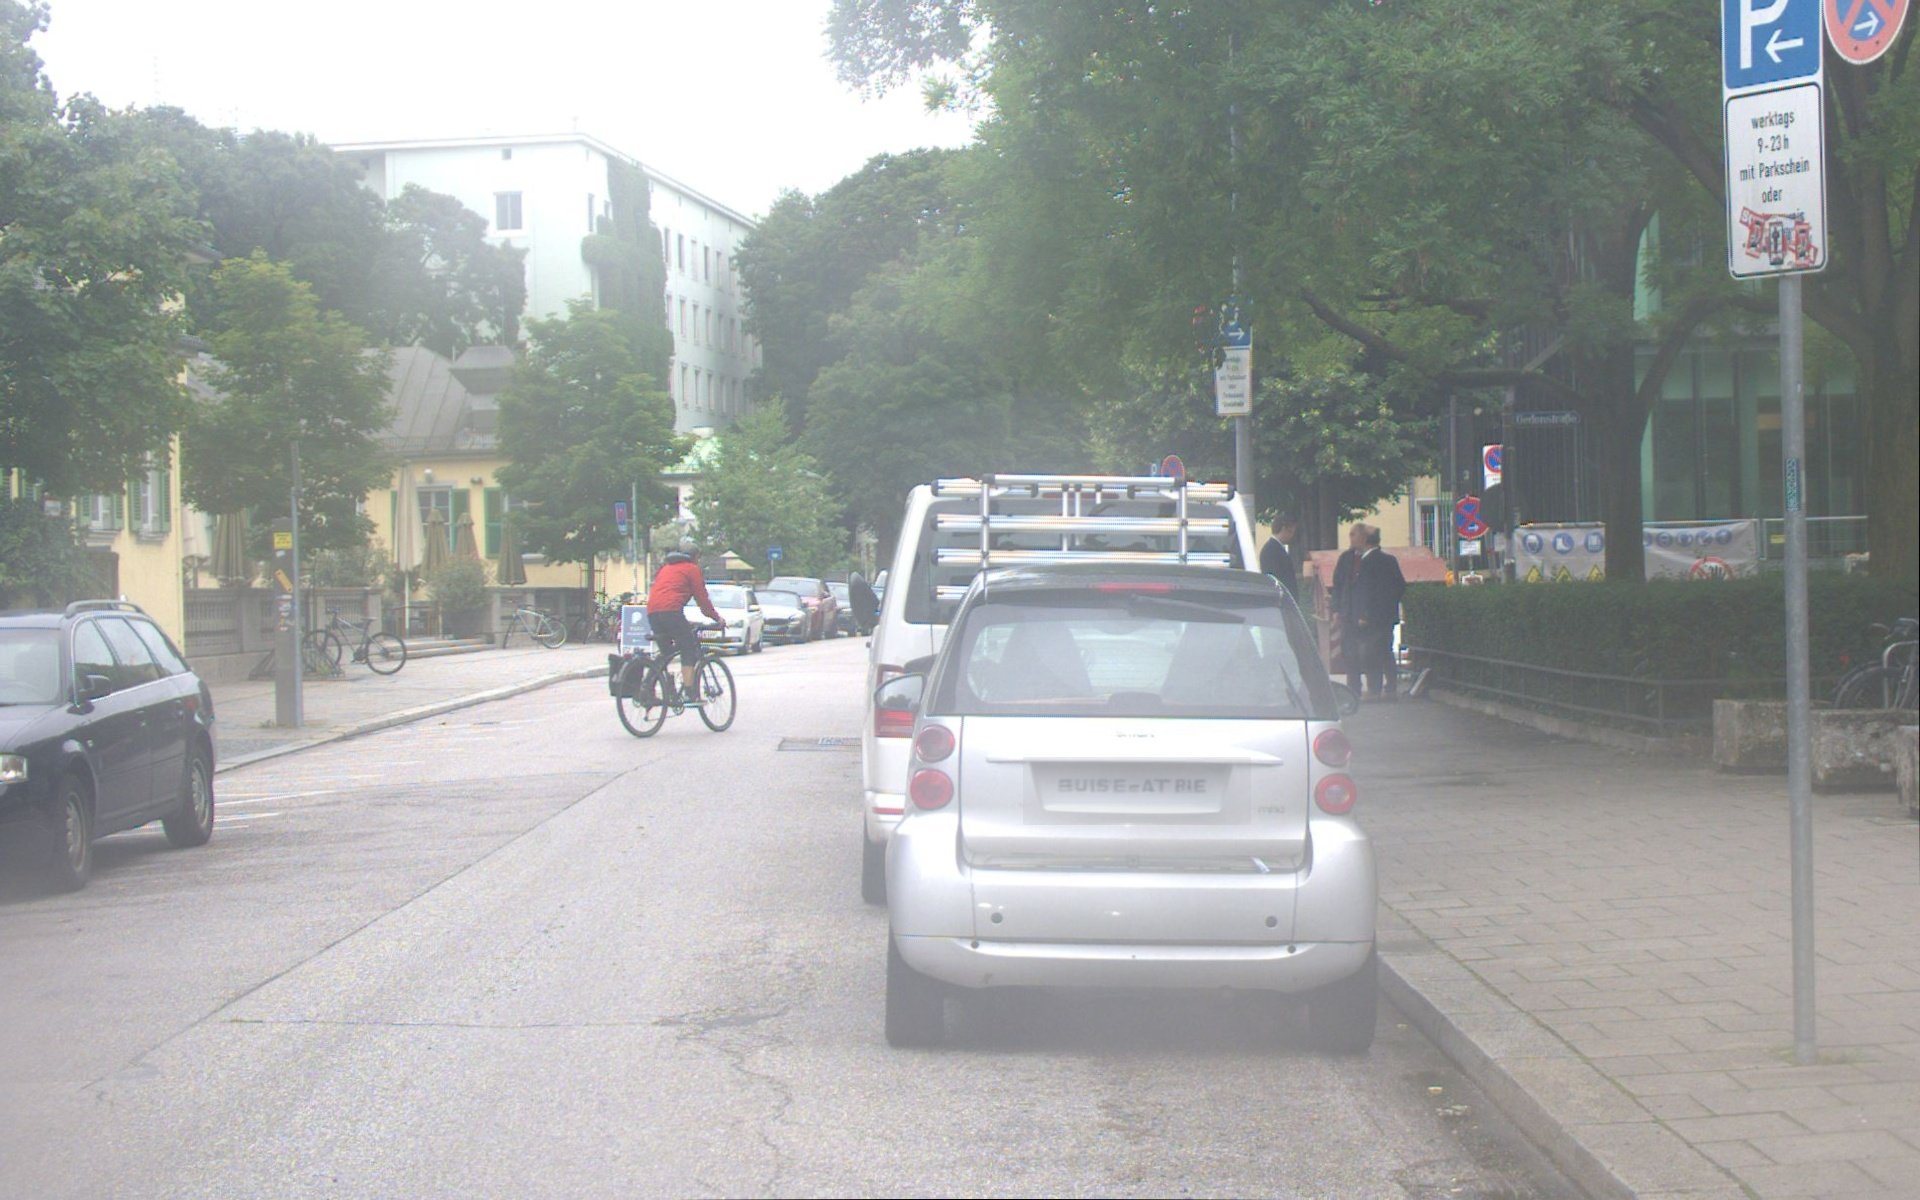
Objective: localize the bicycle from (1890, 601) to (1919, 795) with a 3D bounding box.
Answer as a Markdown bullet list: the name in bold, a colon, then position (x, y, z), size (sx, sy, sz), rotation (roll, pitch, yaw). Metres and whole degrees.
- **bicycle**: position (6.488, 0.531, 20.092), size (1.932, 1.110, 0.471), rotation (-2, 0, 2)

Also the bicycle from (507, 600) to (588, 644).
- **bicycle**: position (-8.958, 0.479, 74.685), size (1.613, 0.922, 0.651), rotation (-1, -1, -24)

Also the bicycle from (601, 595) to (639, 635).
- **bicycle**: position (-8.570, 0.384, 86.687), size (0.621, 1.001, 1.618), rotation (-1, -1, 6)

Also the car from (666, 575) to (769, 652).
- **car**: position (-5.259, 0.276, 74.925), size (1.734, 1.576, 3.787), rotation (2, 0, 3)

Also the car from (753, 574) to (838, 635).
- **car**: position (-4.409, 0.136, 92.700), size (1.993, 1.597, 4.000), rotation (-1, 0, 2)

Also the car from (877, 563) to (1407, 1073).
- **car**: position (0.562, 0.655, 12.021), size (1.605, 1.541, 2.934), rotation (1, 1, 0)

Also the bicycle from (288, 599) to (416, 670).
- **bicycle**: position (-9.823, 0.555, 55.572), size (1.931, 1.095, 0.615), rotation (1, 0, 3)

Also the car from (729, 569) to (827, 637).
- **car**: position (-4.594, 0.047, 87.508), size (1.994, 1.643, 4.655), rotation (-1, 0, 3)

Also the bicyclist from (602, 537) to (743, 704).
- **bicyclist**: position (-2.628, 0.193, 31.489), size (0.673, 1.492, 1.092), rotation (-2, -2, 42)

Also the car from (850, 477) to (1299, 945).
- **car**: position (0.436, 0.444, 17.122), size (1.845, 1.926, 5.273), rotation (1, 0, -1)

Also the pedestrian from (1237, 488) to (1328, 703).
- **pedestrian**: position (3.276, -0.047, 34.965), size (0.742, 2.127, 1.056), rotation (-2, 0, -1)

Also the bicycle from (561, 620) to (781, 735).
- **bicycle**: position (-2.628, 0.701, 31.469), size (0.623, 1.001, 2.135), rotation (-2, -1, 42)

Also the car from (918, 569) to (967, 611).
- **car**: position (-0.704, -0.423, 141.744), size (1.810, 1.677, 4.000), rotation (-1, 1, 2)

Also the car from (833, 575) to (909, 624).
- **car**: position (-2.848, -0.032, 110.423), size (1.994, 1.481, 3.999), rotation (-1, 1, 5)

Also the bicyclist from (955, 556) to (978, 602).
- **bicyclist**: position (0.210, -0.717, 118.357), size (0.743, 1.570, 0.977), rotation (-1, 0, 0)

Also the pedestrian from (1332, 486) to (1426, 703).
- **pedestrian**: position (4.212, -0.059, 34.617), size (0.742, 2.127, 1.056), rotation (-2, 0, -1)

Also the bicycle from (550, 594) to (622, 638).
- **bicycle**: position (-8.942, 0.380, 82.187), size (1.614, 1.001, 0.623), rotation (-3, 0, -42)

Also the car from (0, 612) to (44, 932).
- **car**: position (-5.248, 0.824, 13.724), size (1.922, 1.434, 4.918), rotation (-3, 0, -2)

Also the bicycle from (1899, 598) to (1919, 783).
- **bicycle**: position (6.756, 0.510, 20.880), size (1.931, 1.110, 0.471), rotation (-2, 0, 2)

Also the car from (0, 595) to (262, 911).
- **car**: position (-5.417, 0.773, 18.987), size (1.993, 1.486, 4.883), rotation (-3, 0, 1)

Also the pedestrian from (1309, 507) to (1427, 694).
- **pedestrian**: position (4.261, 0.001, 35.828), size (0.744, 1.901, 1.054), rotation (-2, 0, 36)

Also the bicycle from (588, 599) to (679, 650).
- **bicycle**: position (-6.677, 0.496, 70.430), size (0.623, 1.001, 2.136), rotation (2, 1, 34)

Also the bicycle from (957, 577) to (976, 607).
- **bicycle**: position (0.220, -0.291, 118.445), size (0.621, 1.001, 2.140), rotation (-1, 1, -1)
